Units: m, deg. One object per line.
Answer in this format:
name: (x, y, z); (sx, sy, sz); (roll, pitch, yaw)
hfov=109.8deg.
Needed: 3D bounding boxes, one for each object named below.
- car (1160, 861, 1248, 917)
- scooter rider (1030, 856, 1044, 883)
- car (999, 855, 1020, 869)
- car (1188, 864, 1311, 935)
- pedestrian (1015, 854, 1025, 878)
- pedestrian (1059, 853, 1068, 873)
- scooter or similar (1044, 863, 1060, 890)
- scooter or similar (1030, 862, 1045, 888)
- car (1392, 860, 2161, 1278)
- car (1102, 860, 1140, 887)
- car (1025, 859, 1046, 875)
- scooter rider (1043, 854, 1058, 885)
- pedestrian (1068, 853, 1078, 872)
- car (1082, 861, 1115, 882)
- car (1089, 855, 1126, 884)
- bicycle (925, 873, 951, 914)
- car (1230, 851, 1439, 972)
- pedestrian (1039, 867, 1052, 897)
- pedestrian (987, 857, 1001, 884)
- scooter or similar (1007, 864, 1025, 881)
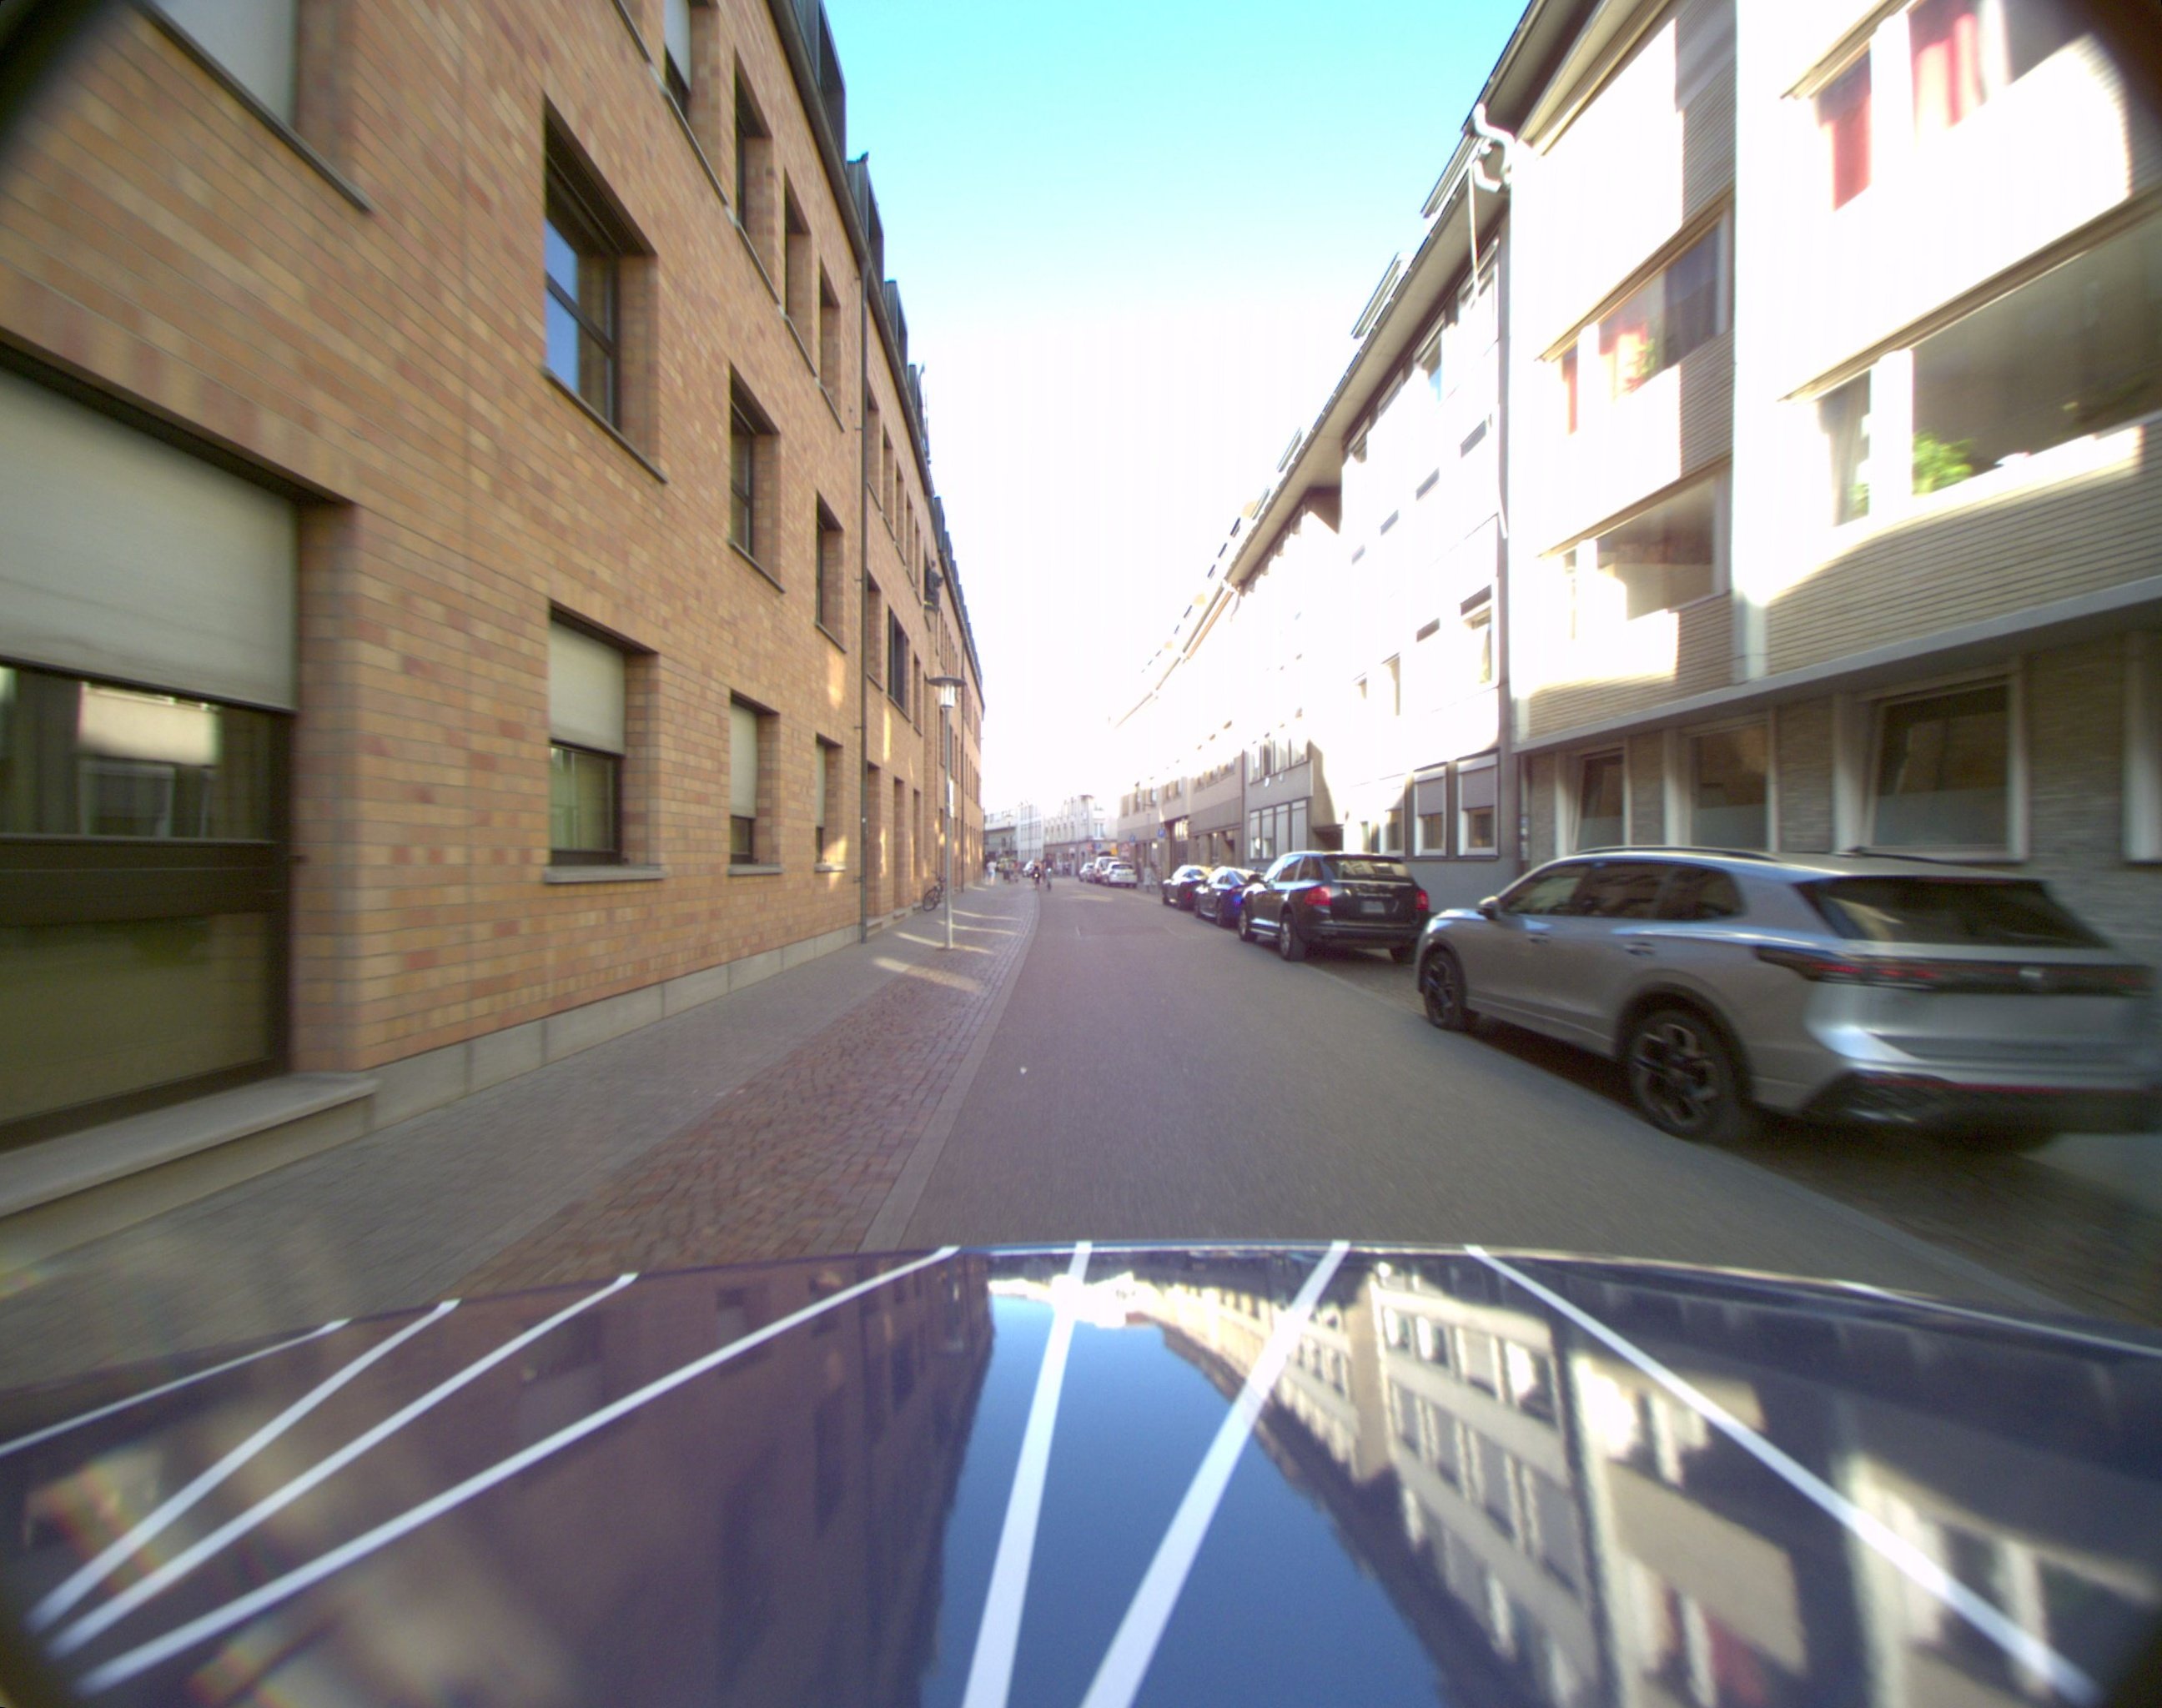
car: (3.890, 1.066, 24.898); (1.895, 1.521, 4.728); (3, 0, -2)
scooter rider: (-2.435, 0.850, 41.953); (0.592, 1.499, 0.599); (-2, 1, -15)
car: (-9.803, 1.090, 104.031); (1.891, 1.862, 3.994); (2, -1, -18)
car: (4.028, 1.038, 18.904); (1.895, 1.521, 4.338); (0, 0, -3)
pedestrian: (-5.234, 1.035, 64.847); (0.716, 2.002, 0.698); (0, 0, -16)
pedestrian: (-1.827, 0.947, 79.814); (0.716, 2.002, 0.698); (0, 0, -16)
scooter or similar: (-1.499, 1.156, 39.306); (0.524, 1.388, 1.553); (0, 0, -15)
scooter or similar: (-2.414, 1.142, 41.885); (0.551, 1.388, 1.553); (0, 0, -15)
car: (4.127, 0.916, 5.388); (1.895, 1.732, 4.390); (0, 0, -2)
car: (2.366, 1.153, 46.016); (1.675, 1.513, 3.773); (2, 0, -6)
car: (-4.369, 1.233, 72.599); (1.720, 1.508, 4.157); (0, 0, -7)
scooter rider: (-1.577, 0.804, 39.328); (0.648, 1.584, 0.599); (-2, 1, -15)
pedestrian: (-0.853, 0.936, 80.015); (0.938, 2.002, 0.698); (0, 0, -16)
car: (1.261, 1.321, 57.490); (1.743, 1.483, 3.796); (1, -1, -10)
car: (1.758, 1.023, 52.388); (1.905, 1.846, 4.731); (1, 0, -6)
bicycle: (-4.233, 1.155, 22.586); (0.551, 1.097, 1.981); (3, -1, -6)
car: (3.934, 0.808, 12.721); (1.895, 1.666, 4.553); (0, 0, -1)
pedestrian: (-2.438, 1.922, 52.135); (0.716, 2.002, 0.698); (0, 0, -16)
pedestrian: (-5.623, 1.059, 49.151); (0.762, 1.706, 0.821); (2, 0, -4)
scooter or similar: (-4.793, 1.368, 55.971); (0.537, 1.228, 1.422); (-1, -1, 33)
